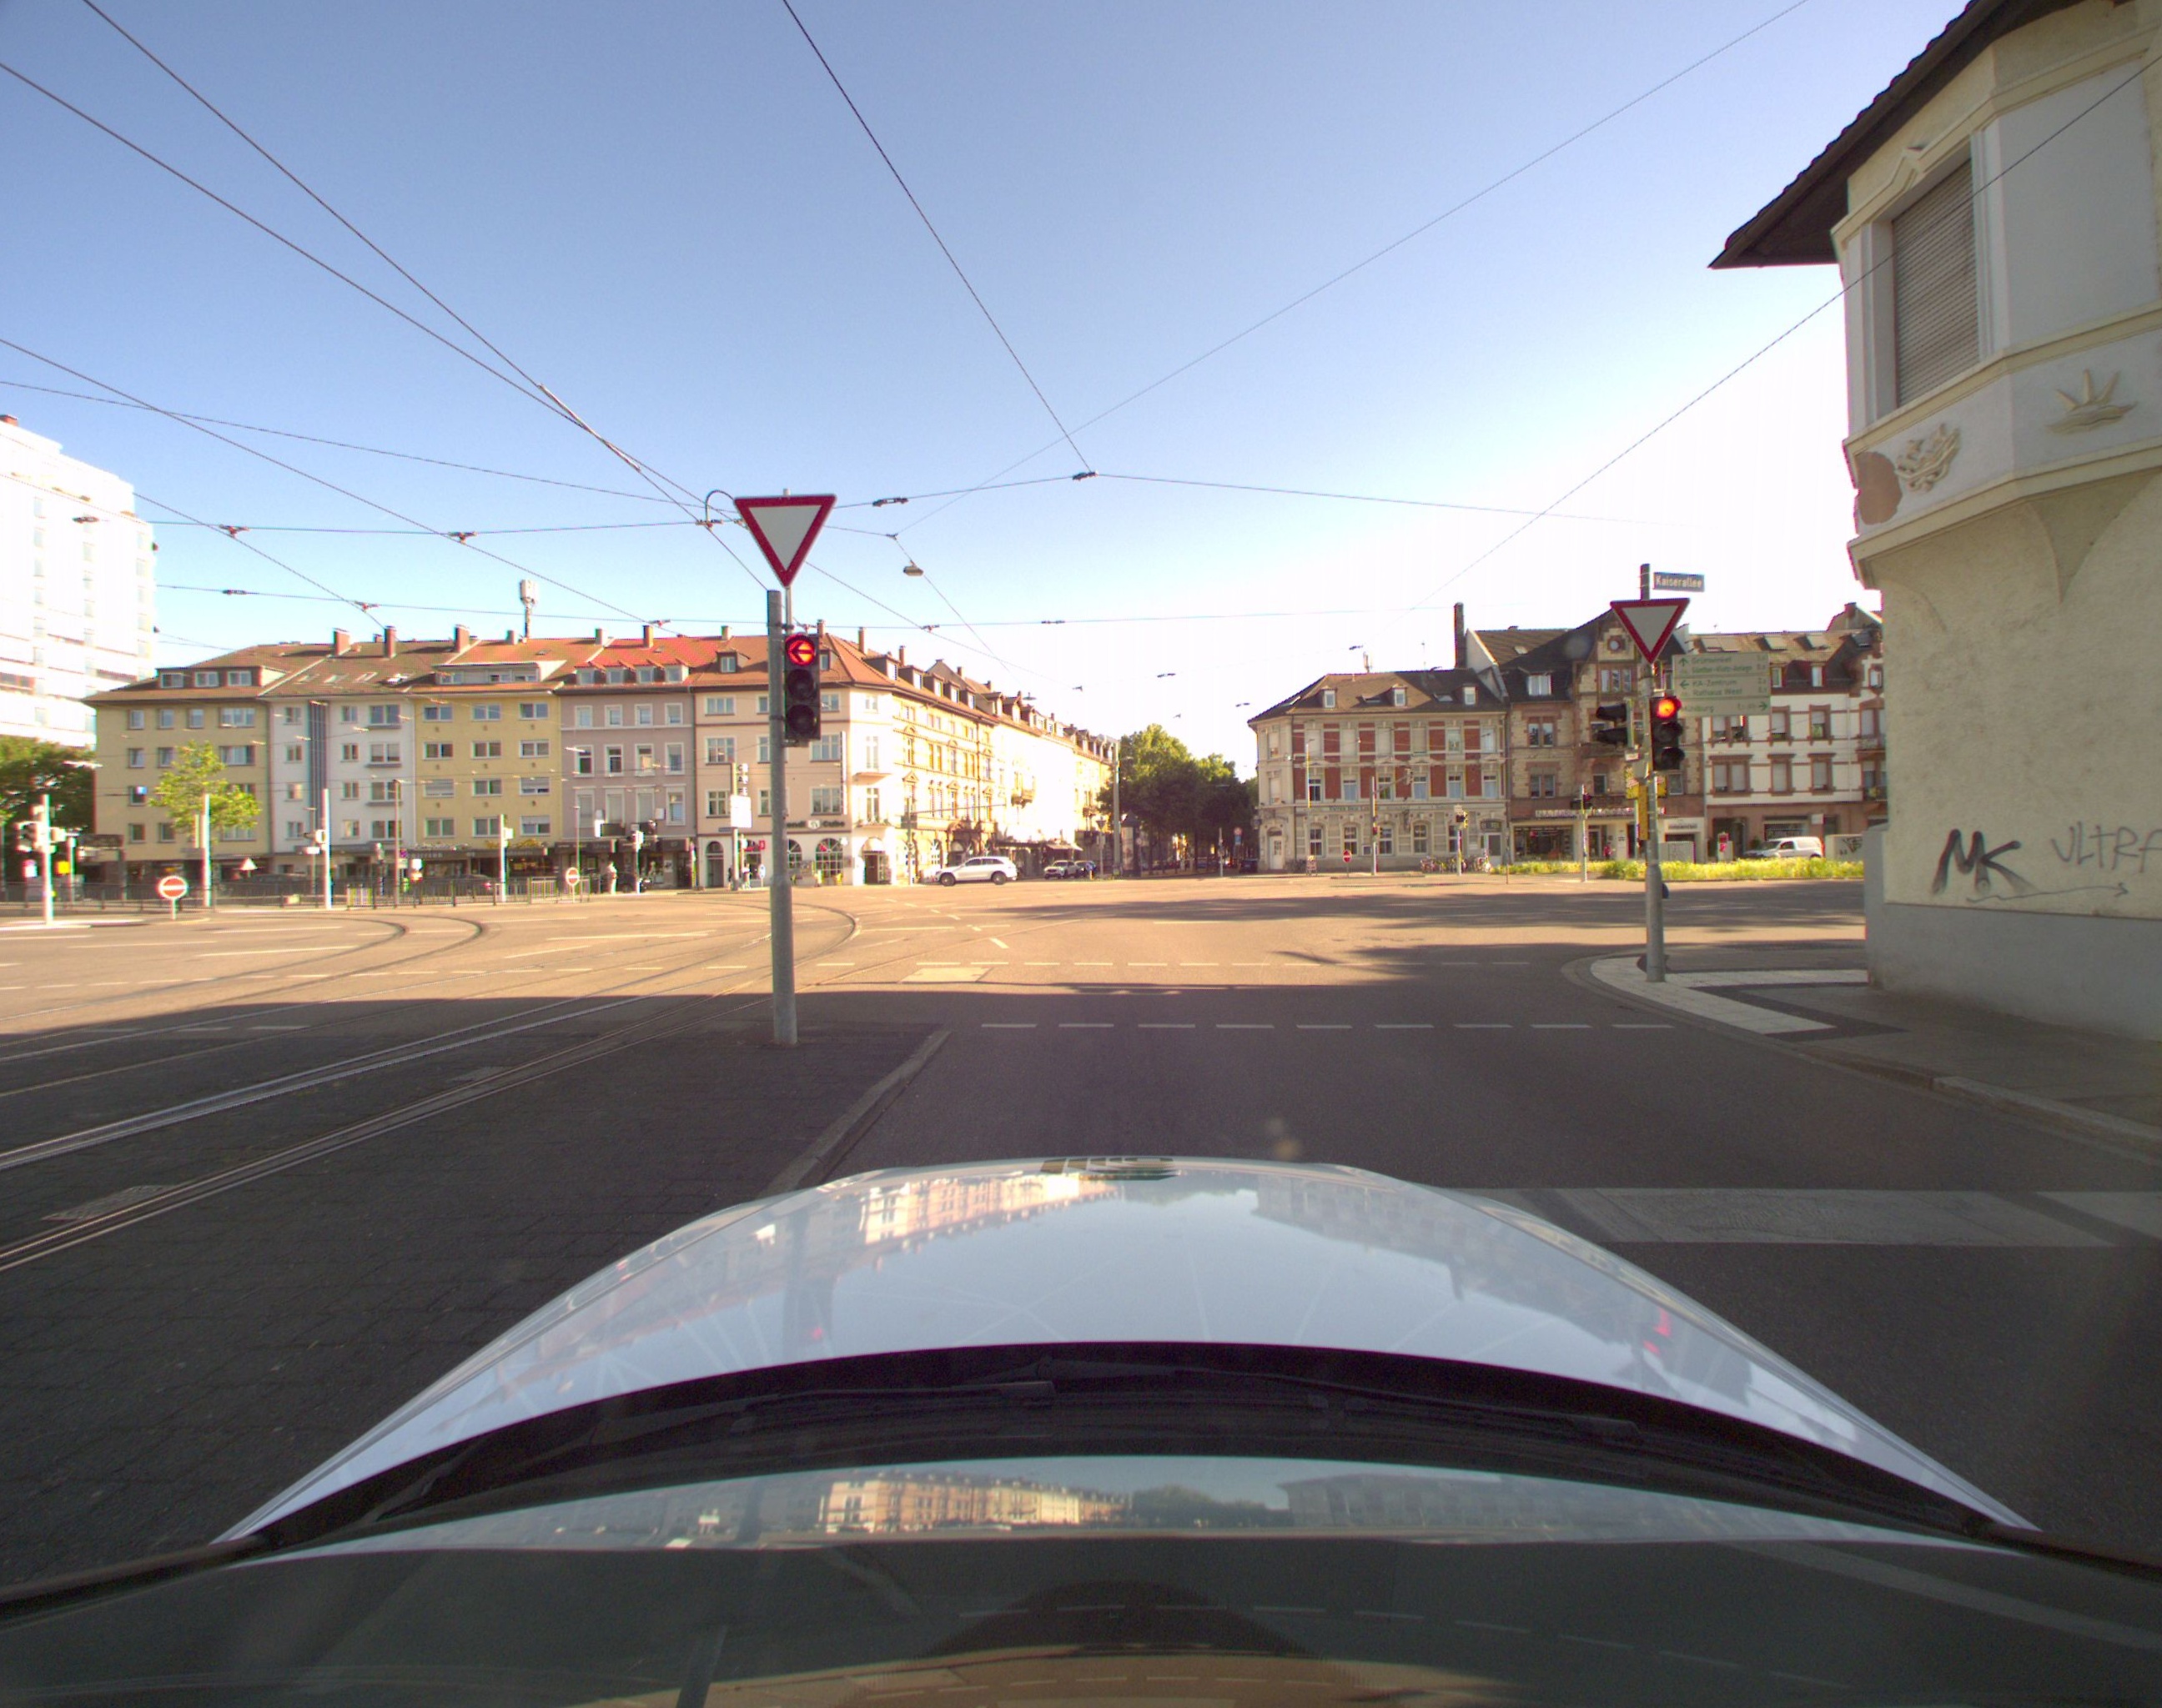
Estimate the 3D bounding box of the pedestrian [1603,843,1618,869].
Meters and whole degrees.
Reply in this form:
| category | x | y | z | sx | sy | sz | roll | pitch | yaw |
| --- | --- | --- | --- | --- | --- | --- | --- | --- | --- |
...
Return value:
| category | x | y | z | sx | sy | sz | roll | pitch | yaw |
| --- | --- | --- | --- | --- | --- | --- | --- | --- | --- |
| pedestrian | 36.077 | 0.116 | 55.472 | 0.705 | 1.751 | 0.421 | -1 | 0 | 3 |

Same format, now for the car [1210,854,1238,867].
| category | x | y | z | sx | sy | sz | roll | pitch | yaw |
| --- | --- | --- | --- | --- | --- | --- | --- | --- | --- |
| car | 23.382 | 1.085 | 133.063 | 4.074 | 1.919 | 1.756 | 1 | 0 | 23 |

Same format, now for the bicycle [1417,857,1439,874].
| category | x | y | z | sx | sy | sz | roll | pitch | yaw |
| --- | --- | --- | --- | --- | --- | --- | --- | --- | --- |
| bicycle | 22.501 | 0.732 | 52.830 | 0.603 | 1.051 | 1.641 | -1 | 0 | -3 |

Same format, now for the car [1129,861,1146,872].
| category | x | y | z | sx | sy | sz | roll | pitch | yaw |
| --- | --- | --- | --- | --- | --- | --- | --- | --- | --- |
| car | 7.611 | 1.650 | 109.994 | 1.729 | 1.397 | 4.137 | 1 | 0 | 12 |

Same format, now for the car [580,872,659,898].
| category | x | y | z | sx | sy | sz | roll | pitch | yaw |
| --- | --- | --- | --- | --- | --- | --- | --- | --- | --- |
| car | -30.268 | 1.995 | 53.526 | 3.978 | 1.464 | 1.998 | -2 | 0 | -4 |

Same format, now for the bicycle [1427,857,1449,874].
| category | x | y | z | sx | sy | sz | roll | pitch | yaw |
| --- | --- | --- | --- | --- | --- | --- | --- | --- | --- |
| bicycle | 23.155 | 0.727 | 52.861 | 0.603 | 1.051 | 1.641 | -1 | 0 | -3 |

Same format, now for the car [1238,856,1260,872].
| category | x | y | z | sx | sy | sz | roll | pitch | yaw |
| --- | --- | --- | --- | --- | --- | --- | --- | --- | --- |
| car | 16.912 | 0.987 | 82.043 | 1.637 | 1.524 | 3.772 | -2 | -1 | 20 |

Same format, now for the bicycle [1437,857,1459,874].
| category | x | y | z | sx | sy | sz | roll | pitch | yaw |
| --- | --- | --- | --- | --- | --- | --- | --- | --- | --- |
| bicycle | 23.818 | 0.722 | 52.861 | 0.603 | 1.051 | 1.641 | -1 | 0 | -3 |

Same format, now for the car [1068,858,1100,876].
| category | x | y | z | sx | sy | sz | roll | pitch | yaw |
| --- | --- | --- | --- | --- | --- | --- | --- | --- | --- |
| car | 0.298 | 1.149 | 73.684 | 1.979 | 1.513 | 4.015 | -1 | 0 | 14 |

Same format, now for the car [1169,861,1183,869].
| category | x | y | z | sx | sy | sz | roll | pitch | yaw |
| --- | --- | --- | --- | --- | --- | --- | --- | --- | --- |
| car | 15.874 | 1.834 | 136.195 | 1.728 | 1.397 | 4.141 | 1 | 0 | 16 |

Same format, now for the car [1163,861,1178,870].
| category | x | y | z | sx | sy | sz | roll | pitch | yaw |
| --- | --- | --- | --- | --- | --- | --- | --- | --- | --- |
| car | 14.451 | 1.810 | 131.448 | 1.728 | 1.397 | 4.141 | 1 | 0 | 16 |

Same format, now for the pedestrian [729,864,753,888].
| category | x | y | z | sx | sy | sz | roll | pitch | yaw |
| --- | --- | --- | --- | --- | --- | --- | --- | --- | --- |
| pedestrian | -22.941 | 1.480 | 54.988 | 1.060 | 1.591 | 1.043 | -1 | 0 | 4 |

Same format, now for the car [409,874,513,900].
| category | x | y | z | sx | sy | sz | roll | pitch | yaw |
| --- | --- | --- | --- | --- | --- | --- | --- | --- | --- |
| car | -36.237 | 1.894 | 47.681 | 4.496 | 1.341 | 2.000 | -1 | 0 | 0 |

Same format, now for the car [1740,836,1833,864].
| category | x | y | z | sx | sy | sz | roll | pitch | yaw |
| --- | --- | --- | --- | --- | --- | --- | --- | --- | --- |
| car | 45.390 | -0.244 | 52.462 | 4.356 | 1.654 | 1.999 | -1 | 0 | -2 |

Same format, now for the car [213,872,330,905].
| category | x | y | z | sx | sy | sz | roll | pitch | yaw |
| --- | --- | --- | --- | --- | --- | --- | --- | --- | --- |
| car | -45.152 | 1.901 | 45.490 | 4.494 | 1.672 | 2.000 | -1 | 0 | 1 |

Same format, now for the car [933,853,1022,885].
| category | x | y | z | sx | sy | sz | roll | pitch | yaw |
| --- | --- | --- | --- | --- | --- | --- | --- | --- | --- |
| car | -5.838 | 0.835 | 46.245 | 4.838 | 1.660 | 1.997 | -1 | 0 | -4 |

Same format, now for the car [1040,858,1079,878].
| category | x | y | z | sx | sy | sz | roll | pitch | yaw |
| --- | --- | --- | --- | --- | --- | --- | --- | --- | --- |
| car | -1.724 | 1.161 | 67.361 | 2.080 | 1.499 | 4.017 | -2 | 0 | 16 |

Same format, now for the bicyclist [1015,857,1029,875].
| category | x | y | z | sx | sy | sz | roll | pitch | yaw |
| --- | --- | --- | --- | --- | --- | --- | --- | --- | --- |
| bicyclist | -4.760 | 0.985 | 65.863 | 0.787 | 1.375 | 1.113 | -1 | 0 | 16 |

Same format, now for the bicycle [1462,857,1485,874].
| category | x | y | z | sx | sy | sz | roll | pitch | yaw |
| --- | --- | --- | --- | --- | --- | --- | --- | --- | --- |
| bicycle | 25.320 | 0.709 | 52.610 | 0.603 | 1.051 | 1.641 | -1 | 0 | -3 |

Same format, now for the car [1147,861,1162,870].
| category | x | y | z | sx | sy | sz | roll | pitch | yaw |
| --- | --- | --- | --- | --- | --- | --- | --- | --- | --- |
| car | 11.073 | 1.728 | 122.700 | 1.729 | 1.397 | 4.137 | 1 | 0 | 12 |

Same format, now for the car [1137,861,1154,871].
| category | x | y | z | sx | sy | sz | roll | pitch | yaw |
| --- | --- | --- | --- | --- | --- | --- | --- | --- | --- |
| car | 9.185 | 1.685 | 115.764 | 1.729 | 1.397 | 4.137 | 1 | 0 | 12 |

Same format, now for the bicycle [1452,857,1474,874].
| category | x | y | z | sx | sy | sz | roll | pitch | yaw |
| --- | --- | --- | --- | --- | --- | --- | --- | --- | --- |
| bicycle | 24.645 | 0.714 | 52.560 | 0.603 | 1.051 | 1.641 | -1 | 0 | -3 |

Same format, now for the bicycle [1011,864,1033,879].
| category | x | y | z | sx | sy | sz | roll | pitch | yaw |
| --- | --- | --- | --- | --- | --- | --- | --- | --- | --- |
| bicycle | -4.762 | 1.429 | 65.892 | 0.745 | 1.135 | 2.821 | -1 | 0 | 16 |

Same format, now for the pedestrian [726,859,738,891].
| category | x | y | z | sx | sy | sz | roll | pitch | yaw |
| --- | --- | --- | --- | --- | --- | --- | --- | --- | --- |
| pedestrian | -22.772 | 1.359 | 53.115 | 0.506 | 2.013 | 0.505 | -1 | 0 | 5 |

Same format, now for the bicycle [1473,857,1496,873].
| category | x | y | z | sx | sy | sz | roll | pitch | yaw |
| --- | --- | --- | --- | --- | --- | --- | --- | --- | --- |
| bicycle | 26.059 | 0.703 | 52.602 | 0.603 | 1.051 | 1.641 | -1 | 0 | -3 |

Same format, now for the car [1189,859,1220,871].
| category | x | y | z | sx | sy | sz | roll | pitch | yaw |
| --- | --- | --- | --- | --- | --- | --- | --- | --- | --- |
| car | 17.495 | 1.524 | 114.984 | 4.078 | 1.646 | 1.754 | 1 | 0 | 17 |

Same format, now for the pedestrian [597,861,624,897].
| category | x | y | z | sx | sy | sz | roll | pitch | yaw |
| --- | --- | --- | --- | --- | --- | --- | --- | --- | --- |
| pedestrian | -24.565 | 1.311 | 42.549 | 0.871 | 1.818 | 0.811 | -1 | 0 | 2 |

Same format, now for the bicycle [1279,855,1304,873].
| category | x | y | z | sx | sy | sz | roll | pitch | yaw |
| --- | --- | --- | --- | --- | --- | --- | --- | --- | --- |
| bicycle | 14.702 | 0.685 | 56.931 | 1.625 | 1.222 | 0.609 | -1 | 0 | 18 |
